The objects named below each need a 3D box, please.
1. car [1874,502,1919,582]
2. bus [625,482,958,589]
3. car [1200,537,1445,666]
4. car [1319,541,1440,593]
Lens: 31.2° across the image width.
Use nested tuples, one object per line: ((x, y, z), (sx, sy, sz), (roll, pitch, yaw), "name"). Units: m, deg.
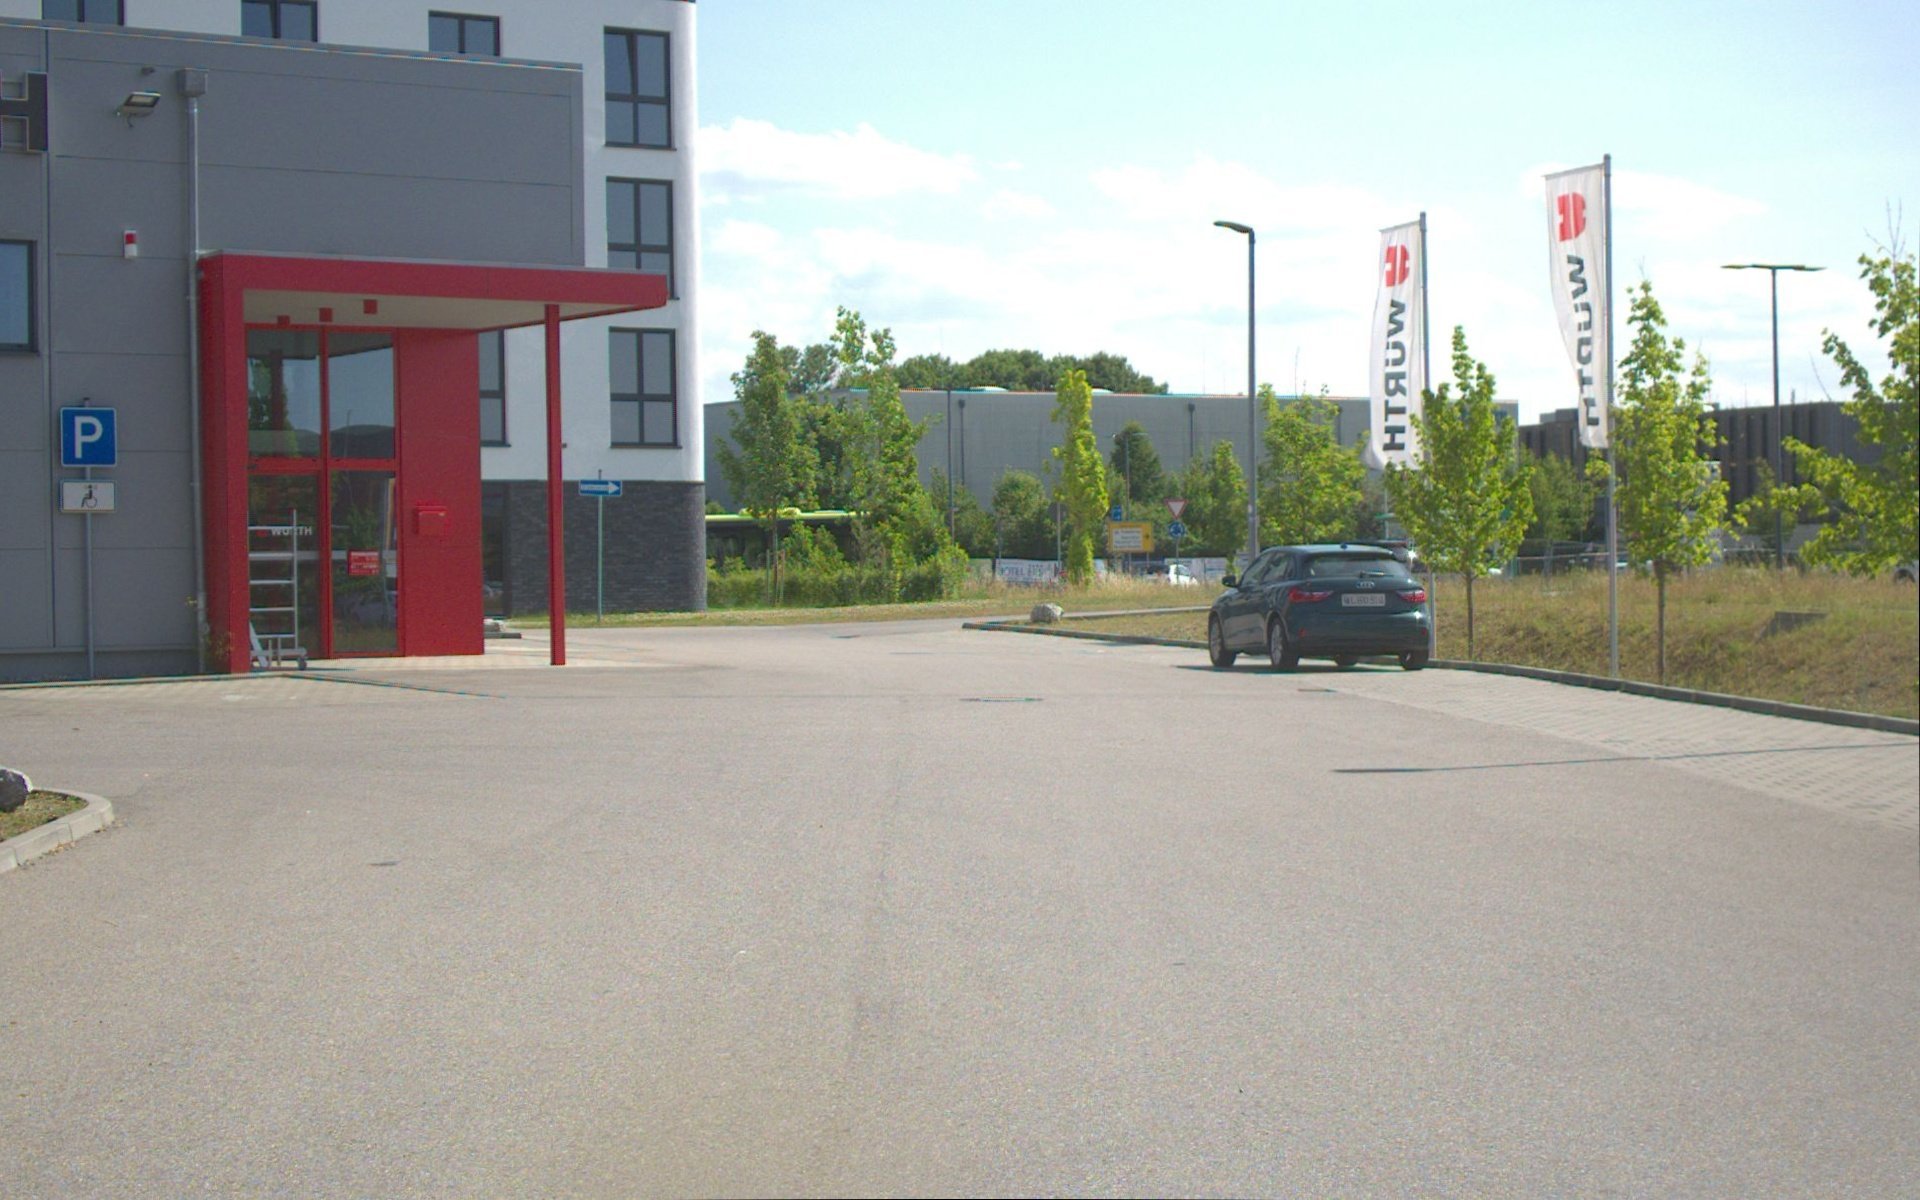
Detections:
((18.903, -1.071, 63.385), (1.872, 1.478, 4.001), (-1, 2, -23), "car")
((-5.759, -2.227, 117.526), (11.212, 3.545, 2.576), (0, 1, -4), "bus")
((4.088, -0.020, 39.396), (1.698, 1.401, 3.898), (0, 1, -11), "car")
((11.602, -0.936, 95.312), (1.647, 1.381, 3.513), (-1, 2, -27), "car")
